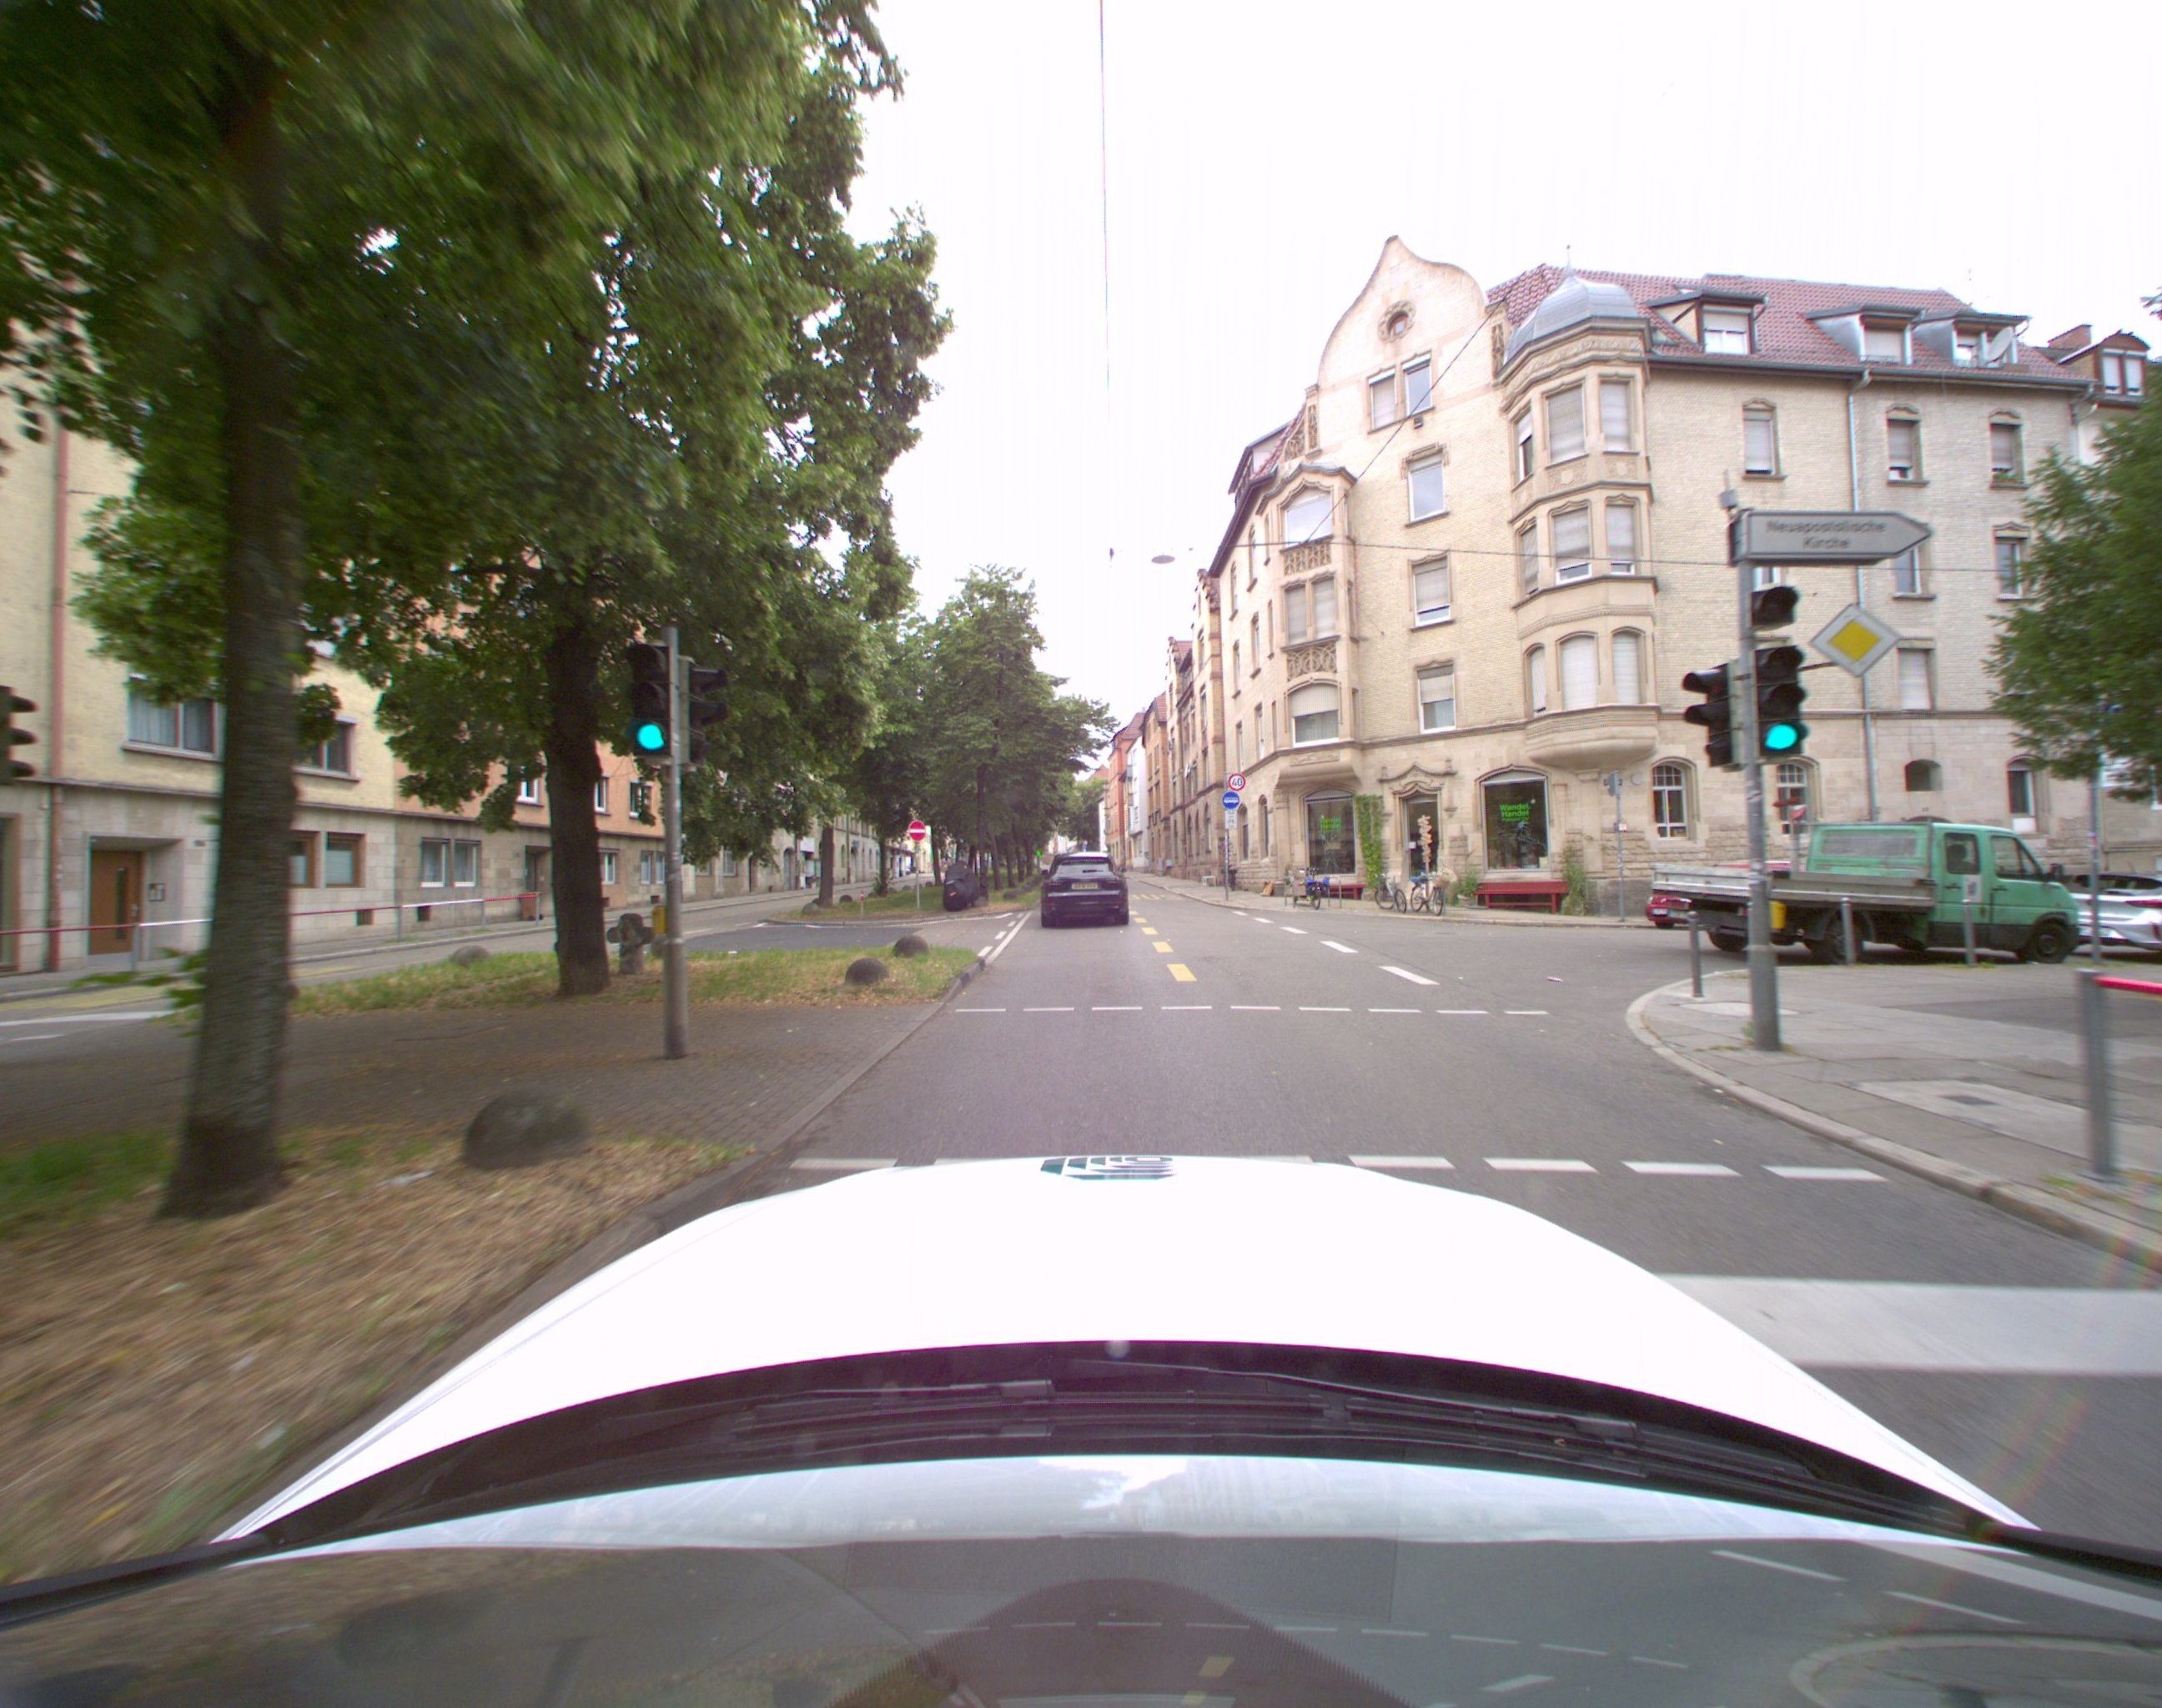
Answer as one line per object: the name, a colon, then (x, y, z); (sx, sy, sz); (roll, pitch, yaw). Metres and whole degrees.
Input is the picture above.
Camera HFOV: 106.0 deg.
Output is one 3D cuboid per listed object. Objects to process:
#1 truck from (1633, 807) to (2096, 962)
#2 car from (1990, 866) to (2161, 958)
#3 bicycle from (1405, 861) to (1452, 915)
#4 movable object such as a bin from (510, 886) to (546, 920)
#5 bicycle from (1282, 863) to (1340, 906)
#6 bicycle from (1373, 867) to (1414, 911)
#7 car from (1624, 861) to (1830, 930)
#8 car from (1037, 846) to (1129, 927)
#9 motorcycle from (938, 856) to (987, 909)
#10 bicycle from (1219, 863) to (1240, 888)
truck: (12.101, 0.453, 12.803); (5.556, 2.133, 2.375); (1, 0, -9)
car: (18.025, 0.914, 13.622); (3.804, 1.407, 1.844); (0, -1, -5)
bicycle: (9.018, 0.845, 21.171); (0.445, 1.161, 1.835); (-2, 5, 0)
movable object such as a bin: (-17.786, 1.580, 26.184); (0.690, 1.060, 0.689); (-1, -1, -3)
bicycle: (6.502, 0.838, 23.208); (0.876, 1.129, 2.980); (-1, -1, 1)
bicycle: (8.251, 0.911, 21.551); (0.347, 1.059, 1.834); (1, 0, 0)
car: (14.648, 0.903, 18.598); (3.354, 1.482, 1.862); (0, -1, -6)
car: (0.001, 0.681, 19.496); (1.988, 1.665, 3.998); (0, 1, -2)
motorcycle: (-3.512, 0.829, 24.413); (1.016, 1.446, 2.247); (-3, -1, 2)
bicycle: (6.250, 0.898, 34.398); (0.445, 1.037, 2.248); (-2, -1, 0)
